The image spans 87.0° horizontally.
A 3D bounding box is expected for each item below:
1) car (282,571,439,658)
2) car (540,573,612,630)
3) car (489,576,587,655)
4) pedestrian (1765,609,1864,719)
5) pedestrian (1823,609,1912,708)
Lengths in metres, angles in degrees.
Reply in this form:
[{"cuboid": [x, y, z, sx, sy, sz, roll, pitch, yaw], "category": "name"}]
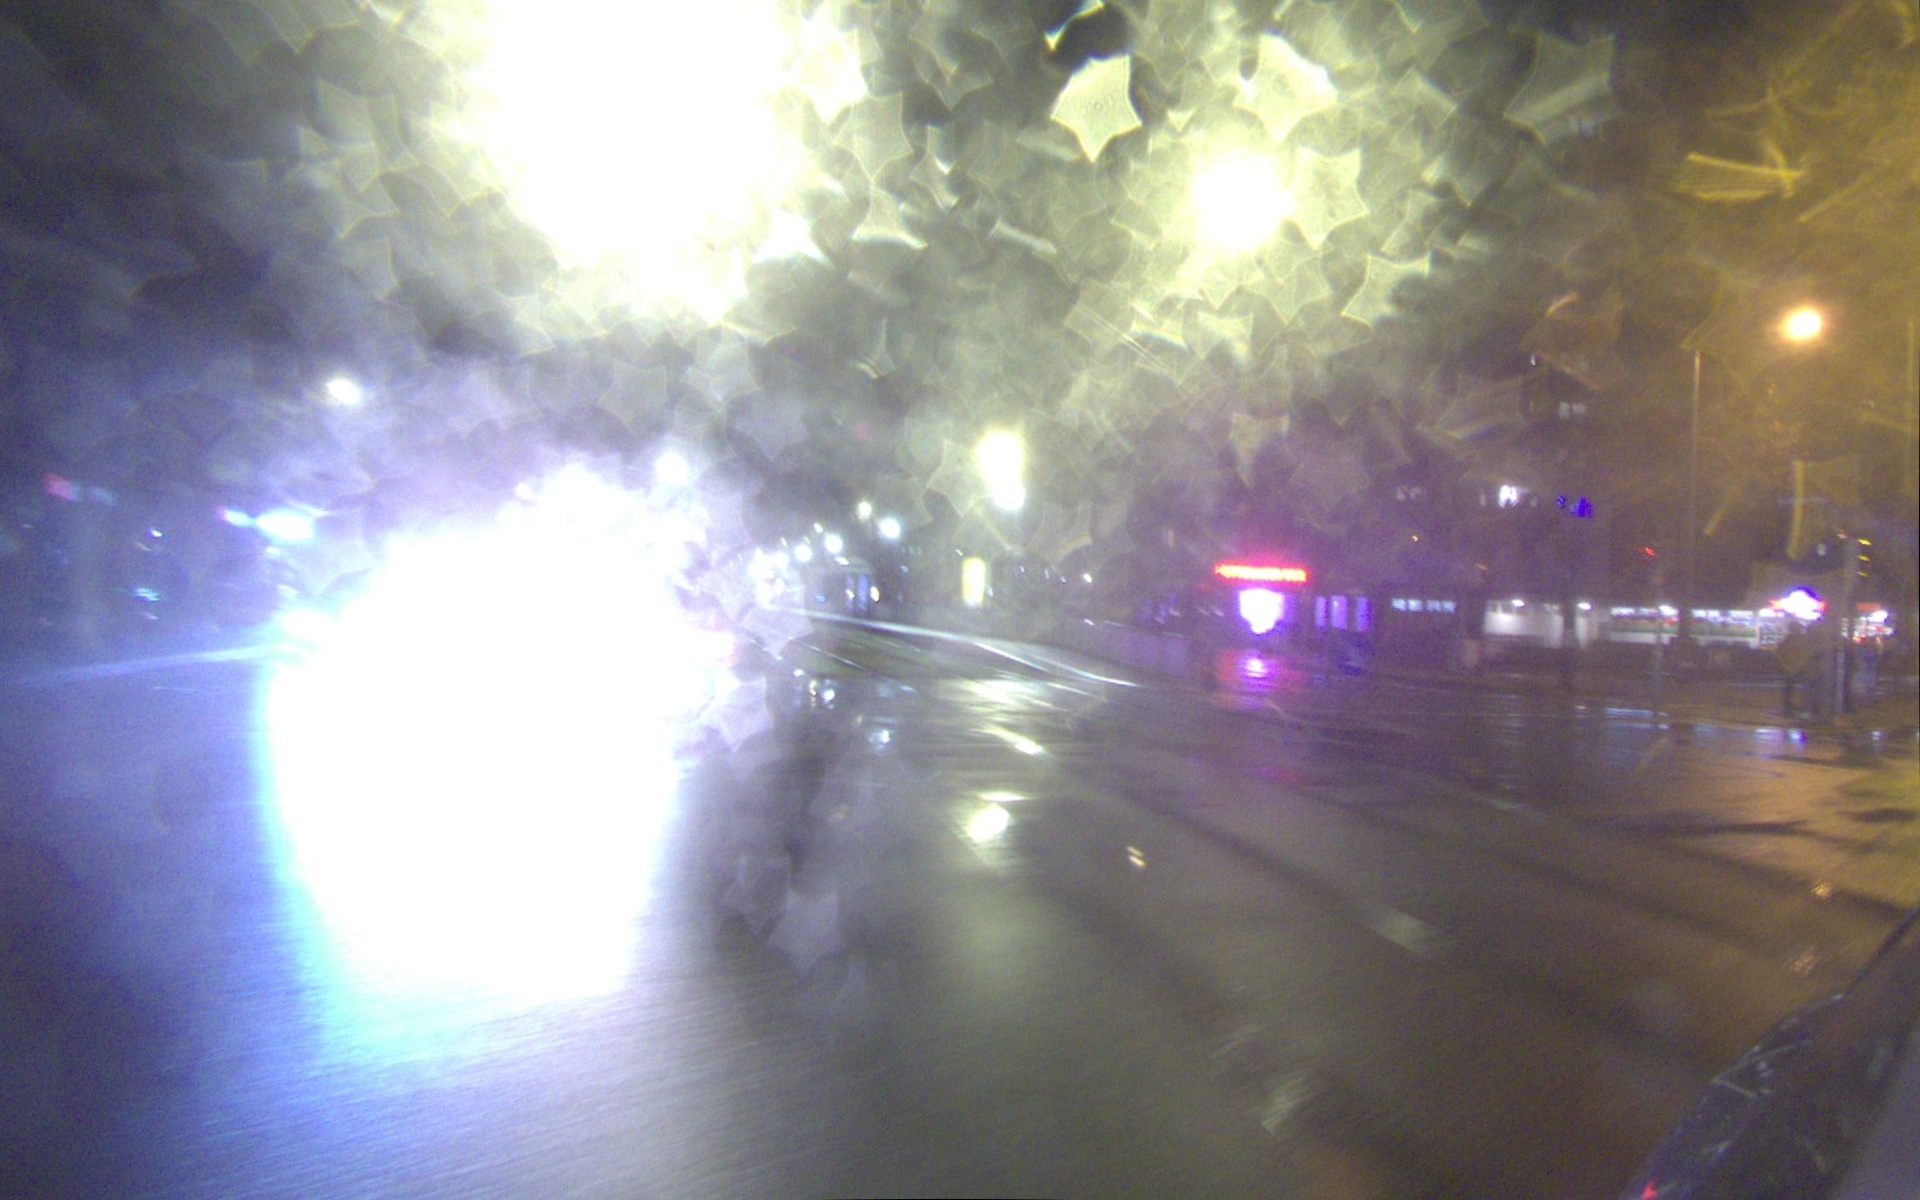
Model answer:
[{"cuboid": [-12.558, 0.257, 21.524, 1.881, 1.599, 4.599, 2, 0, -18], "category": "car"}, {"cuboid": [-11.639, 0.029, 30.863, 1.655, 1.599, 3.737, 2, 0, -15], "category": "car"}, {"cuboid": [-9.409, 0.307, 22.808, 1.706, 1.599, 3.806, 2, 0, -18], "category": "car"}, {"cuboid": [15.225, 1.123, 18.038, 0.834, 1.849, 1.111, 3, 0, -34], "category": "pedestrian"}, {"cuboid": [17.920, 1.144, 20.002, 0.835, 1.849, 1.111, 3, -1, -36], "category": "pedestrian"}]
